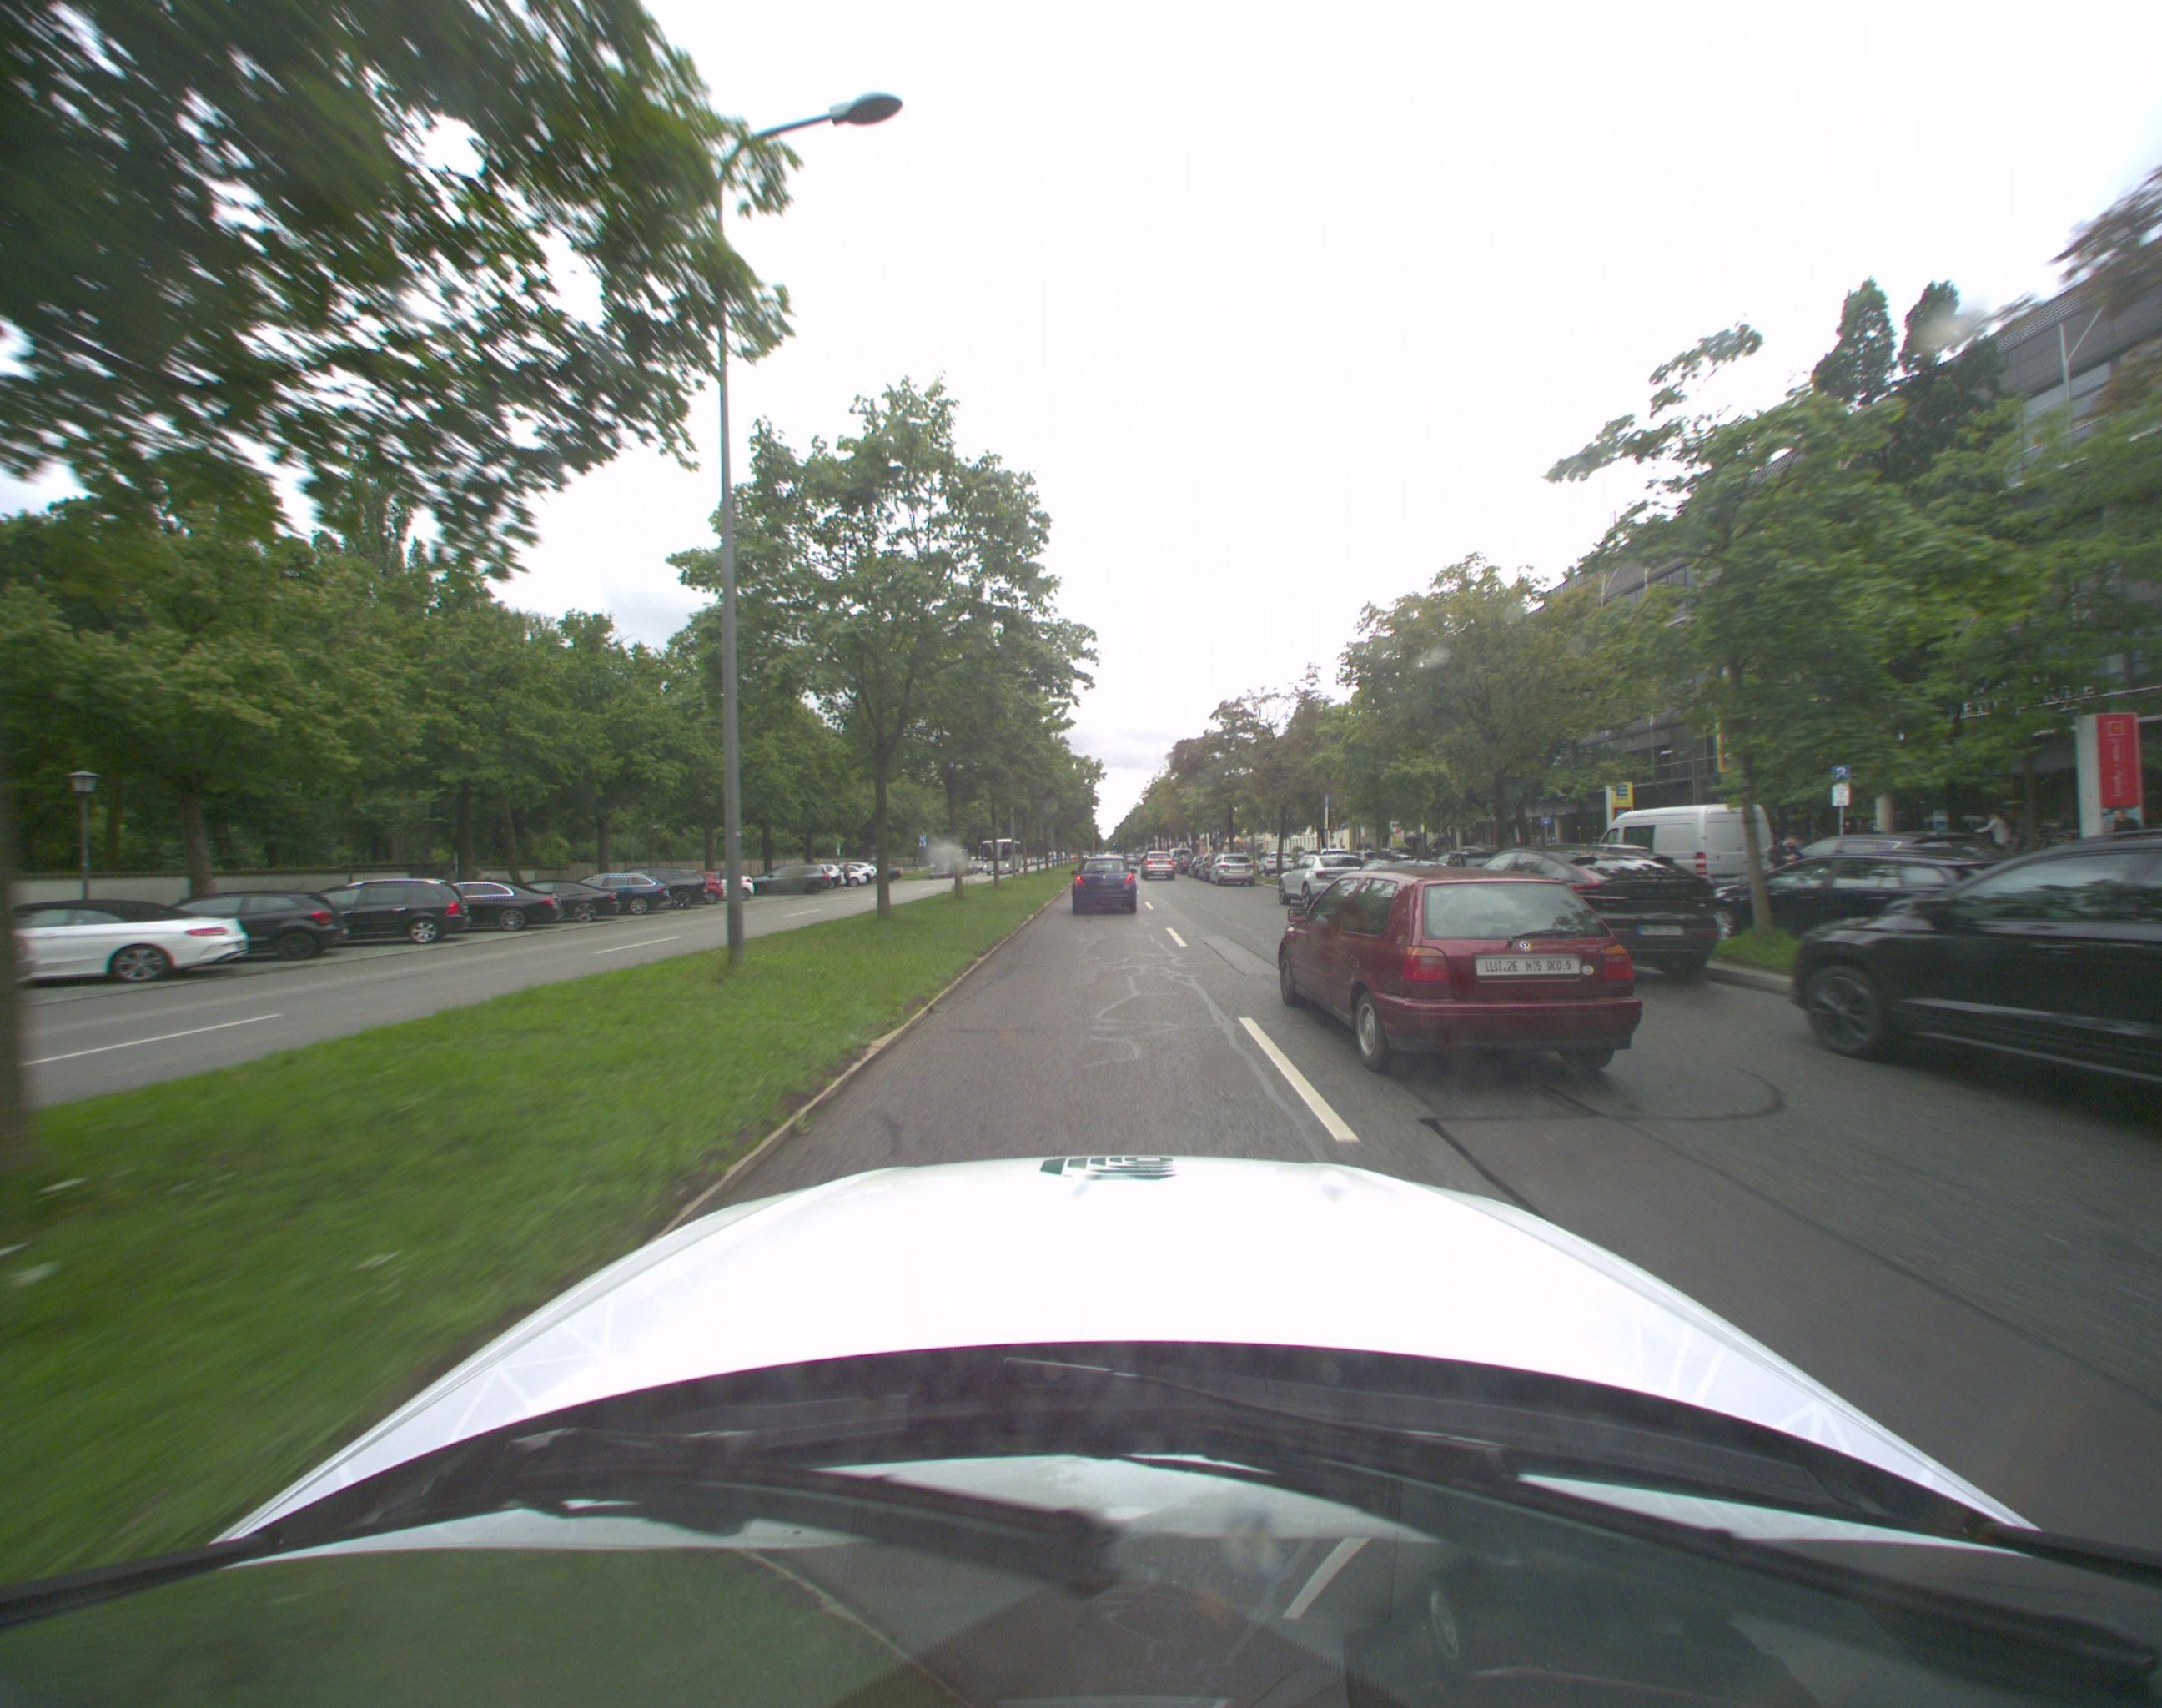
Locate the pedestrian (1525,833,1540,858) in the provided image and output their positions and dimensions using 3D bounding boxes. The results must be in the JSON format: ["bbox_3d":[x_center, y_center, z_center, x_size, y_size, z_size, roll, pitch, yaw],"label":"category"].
[{"bbox_3d":[31.955,-0.605,57.686,0.678,1.704,0.698,0,0,1],"label":"pedestrian"}]

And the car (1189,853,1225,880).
[{"bbox_3d":[7.771,0.750,50.480,1.677,1.553,4.309,-2,0,3],"label":"car"}]

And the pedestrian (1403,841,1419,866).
[{"bbox_3d":[22.805,-0.061,56.302,0.745,1.706,0.702,-2,0,2],"label":"pedestrian"}]

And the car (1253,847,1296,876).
[{"bbox_3d":[11.675,0.434,49.331,1.678,1.585,4.029,-2,0,2],"label":"car"}]

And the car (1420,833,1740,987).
[{"bbox_3d":[6.410,0.615,11.181,1.758,1.651,4.425,-1,0,1],"label":"car"}]

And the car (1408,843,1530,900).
[{"bbox_3d":[10.928,0.454,23.268,1.677,1.454,4.011,-2,0,2],"label":"car"}]

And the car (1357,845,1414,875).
[{"bbox_3d":[17.823,0.363,47.917,1.679,1.632,4.382,-2,0,0],"label":"car"}]

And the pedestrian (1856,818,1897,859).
[{"bbox_3d":[31.816,-0.618,32.579,0.685,1.579,0.972,-2,0,2],"label":"pedestrian"}]

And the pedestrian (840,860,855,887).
[{"bbox_3d":[-14.427,1.217,50.352,0.723,1.612,0.678,-2,0,-6],"label":"pedestrian"}]

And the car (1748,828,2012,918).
[{"bbox_3d":[16.876,0.357,17.527,1.742,1.664,4.009,-2,0,1],"label":"car"}]

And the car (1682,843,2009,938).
[{"bbox_3d":[13.855,0.576,15.283,1.678,1.454,4.840,-2,0,2],"label":"car"}]

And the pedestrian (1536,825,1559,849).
[{"bbox_3d":[33.784,-1.201,58.982,1.013,1.704,1.047,0,0,1],"label":"pedestrian"}]

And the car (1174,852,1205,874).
[{"bbox_3d":[8.087,0.667,61.078,1.679,1.553,4.304,-2,0,-1],"label":"car"}]

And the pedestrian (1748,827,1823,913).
[{"bbox_3d":[15.604,0.338,18.052,0.872,1.851,0.903,0,0,0],"label":"pedestrian"}]

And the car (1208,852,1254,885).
[{"bbox_3d":[7.319,0.672,40.091,1.677,1.525,4.459,0,0,3],"label":"car"}]

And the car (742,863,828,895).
[{"bbox_3d":[-16.424,1.375,45.182,4.199,1.542,1.901,-2,0,-29],"label":"car"}]

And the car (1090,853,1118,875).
[{"bbox_3d":[1.587,0.688,56.778,1.844,1.447,4.097,-2,0,0],"label":"car"}]

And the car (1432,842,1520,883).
[{"bbox_3d":[17.350,0.350,35.980,1.679,1.632,4.498,-2,0,0],"label":"car"}]

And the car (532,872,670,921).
[{"bbox_3d":[-17.229,1.481,29.368,4.122,1.469,1.900,-2,0,-32],"label":"car"}]

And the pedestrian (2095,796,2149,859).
[{"bbox_3d":[25.060,-0.634,19.607,0.394,1.477,0.679,-2,-1,9],"label":"pedestrian"}]

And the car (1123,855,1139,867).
[{"bbox_3d":[6.482,0.875,106.194,1.844,1.447,4.097,-2,0,0],"label":"car"}]

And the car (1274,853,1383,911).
[{"bbox_3d":[6.726,0.701,22.644,1.701,1.454,4.512,0,0,0],"label":"car"}]

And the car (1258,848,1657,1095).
[{"bbox_3d":[2.714,0.716,6.922,1.616,1.454,3.951,-2,0,1],"label":"car"}]

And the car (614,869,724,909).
[{"bbox_3d":[-17.872,1.469,35.426,4.119,1.501,1.901,-2,0,-29],"label":"car"}]

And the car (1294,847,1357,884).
[{"bbox_3d":[11.585,0.507,38.874,1.678,1.632,4.782,-2,0,2],"label":"car"}]

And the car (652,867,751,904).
[{"bbox_3d":[-17.942,1.464,38.514,4.119,1.501,1.901,-2,0,-29],"label":"car"}]

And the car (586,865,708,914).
[{"bbox_3d":[-17.150,1.364,32.203,4.122,1.679,1.900,-2,0,-32],"label":"car"}]

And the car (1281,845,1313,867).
[{"bbox_3d":[17.157,0.153,64.801,1.677,1.585,4.032,-2,0,4],"label":"car"}]

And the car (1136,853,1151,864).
[{"bbox_3d":[9.178,0.678,119.675,1.844,1.447,4.097,-2,0,0],"label":"car"}]

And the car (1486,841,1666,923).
[{"bbox_3d":[10.814,0.559,18.165,1.677,1.585,4.011,-2,0,2],"label":"car"}]

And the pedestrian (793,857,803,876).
[{"bbox_3d":[-25.101,1.110,72.149,0.682,1.612,0.685,-2,0,-29],"label":"pedestrian"}]

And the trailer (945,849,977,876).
[{"bbox_3d":[-11.944,0.825,81.684,2.098,2.540,5.579,-2,0,2],"label":"trailer"}]

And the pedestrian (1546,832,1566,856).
[{"bbox_3d":[33.732,-0.714,57.847,0.959,1.704,0.798,0,0,1],"label":"pedestrian"}]

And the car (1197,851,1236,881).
[{"bbox_3d":[7.545,0.641,45.598,1.677,1.626,4.309,0,0,3],"label":"car"}]
